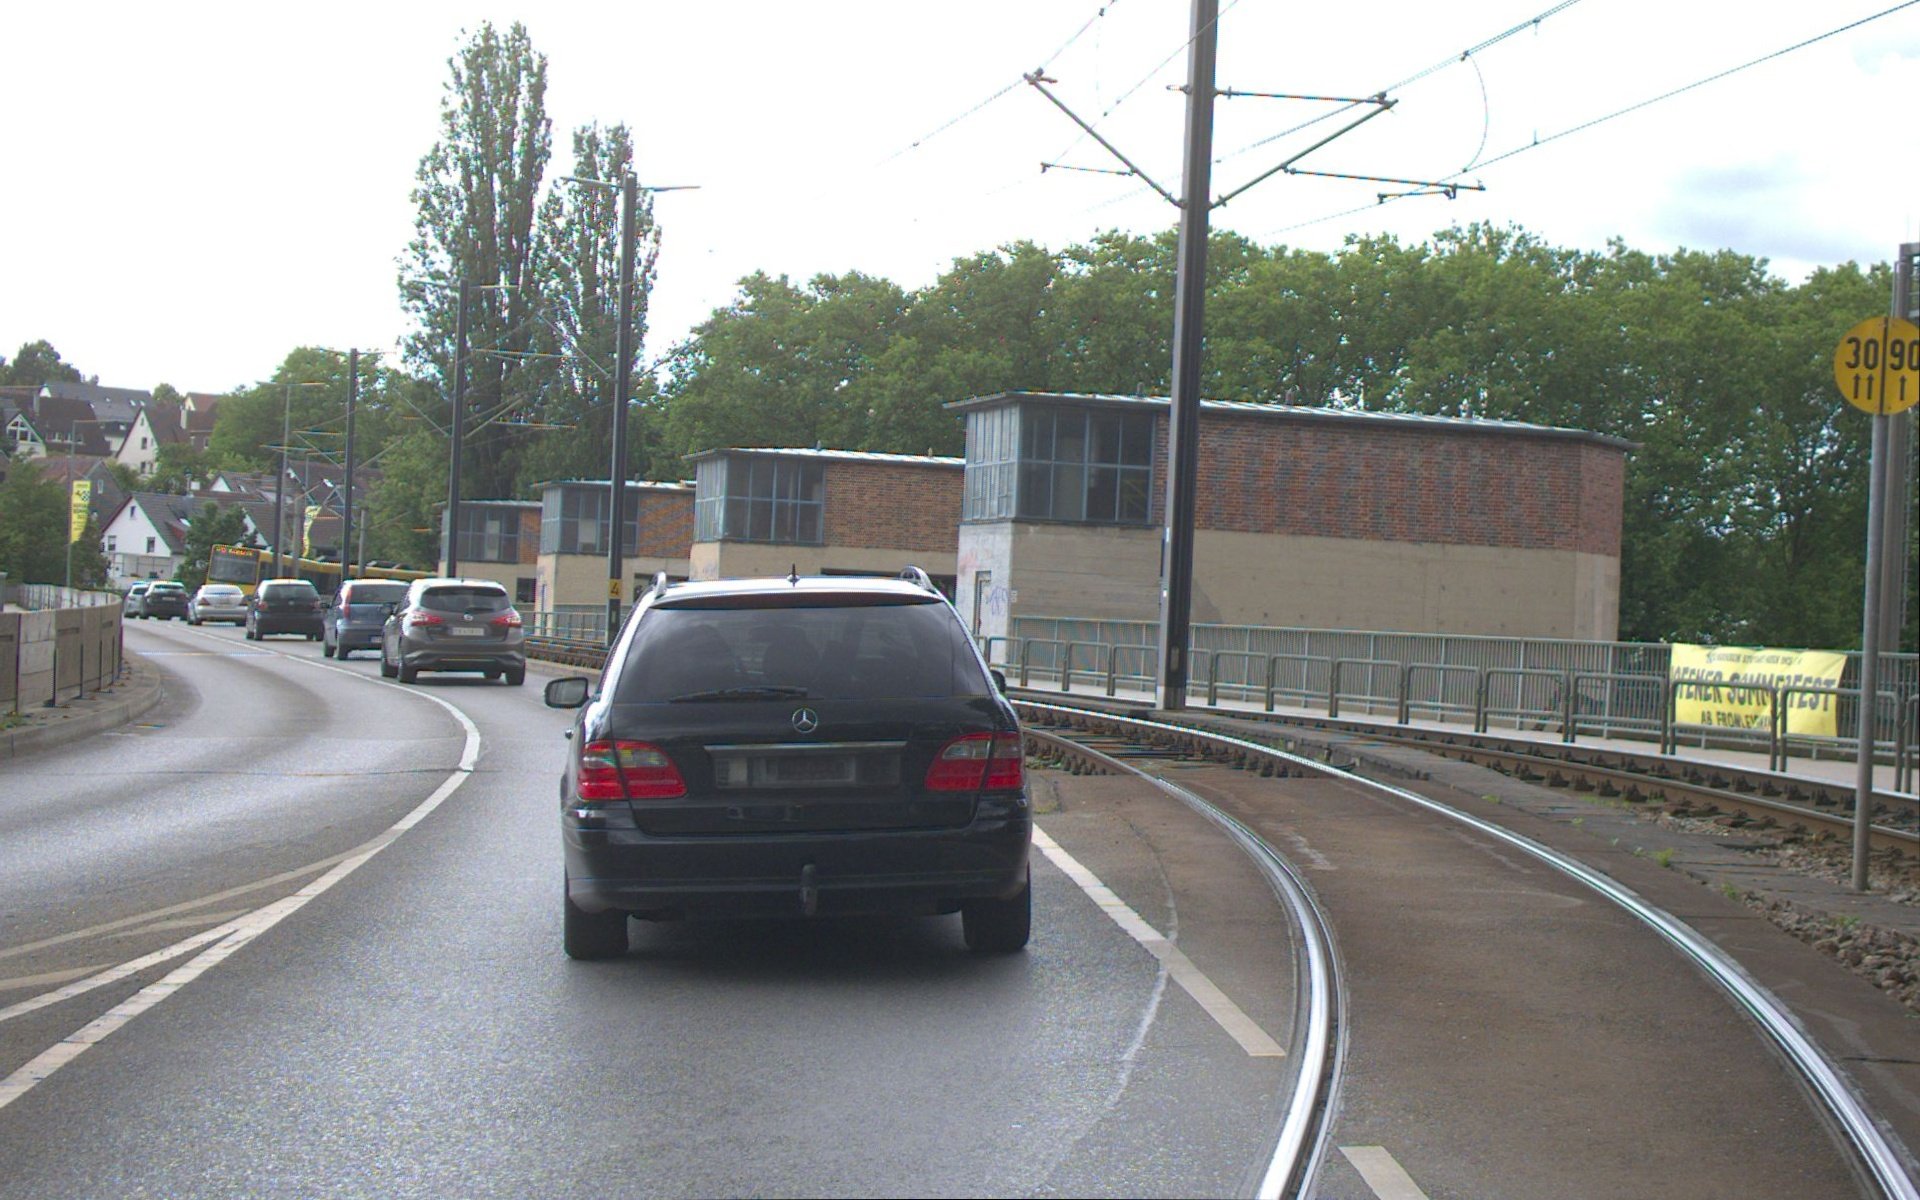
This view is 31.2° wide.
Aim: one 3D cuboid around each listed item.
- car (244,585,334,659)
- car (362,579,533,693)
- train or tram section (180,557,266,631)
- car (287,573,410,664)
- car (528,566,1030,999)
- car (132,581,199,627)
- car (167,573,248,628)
[{"bbox_3d":[-16.105,0.513,82.421,1.993,1.667,4.542,0,1,-13],"label":"car"},{"bbox_3d":[-7.552,0.504,50.393,1.770,1.550,4.242,2,0,-18],"label":"car"},{"bbox_3d":[-37.399,-0.287,174.069,2.881,3.497,18.672,1,0,-16],"label":"train or tram section"},{"bbox_3d":[-11.478,0.309,64.310,1.993,1.559,4.999,0,1,-13],"label":"car"},{"bbox_3d":[-0.633,0.622,14.348,1.759,1.510,4.442,0,1,0],"label":"car"},{"bbox_3d":[-30.325,0.143,131.126,1.993,1.565,4.907,3,0,-18],"label":"car"},{"bbox_3d":[-23.730,0.006,108.345,1.993,1.565,4.907,3,0,-17],"label":"car"}]
